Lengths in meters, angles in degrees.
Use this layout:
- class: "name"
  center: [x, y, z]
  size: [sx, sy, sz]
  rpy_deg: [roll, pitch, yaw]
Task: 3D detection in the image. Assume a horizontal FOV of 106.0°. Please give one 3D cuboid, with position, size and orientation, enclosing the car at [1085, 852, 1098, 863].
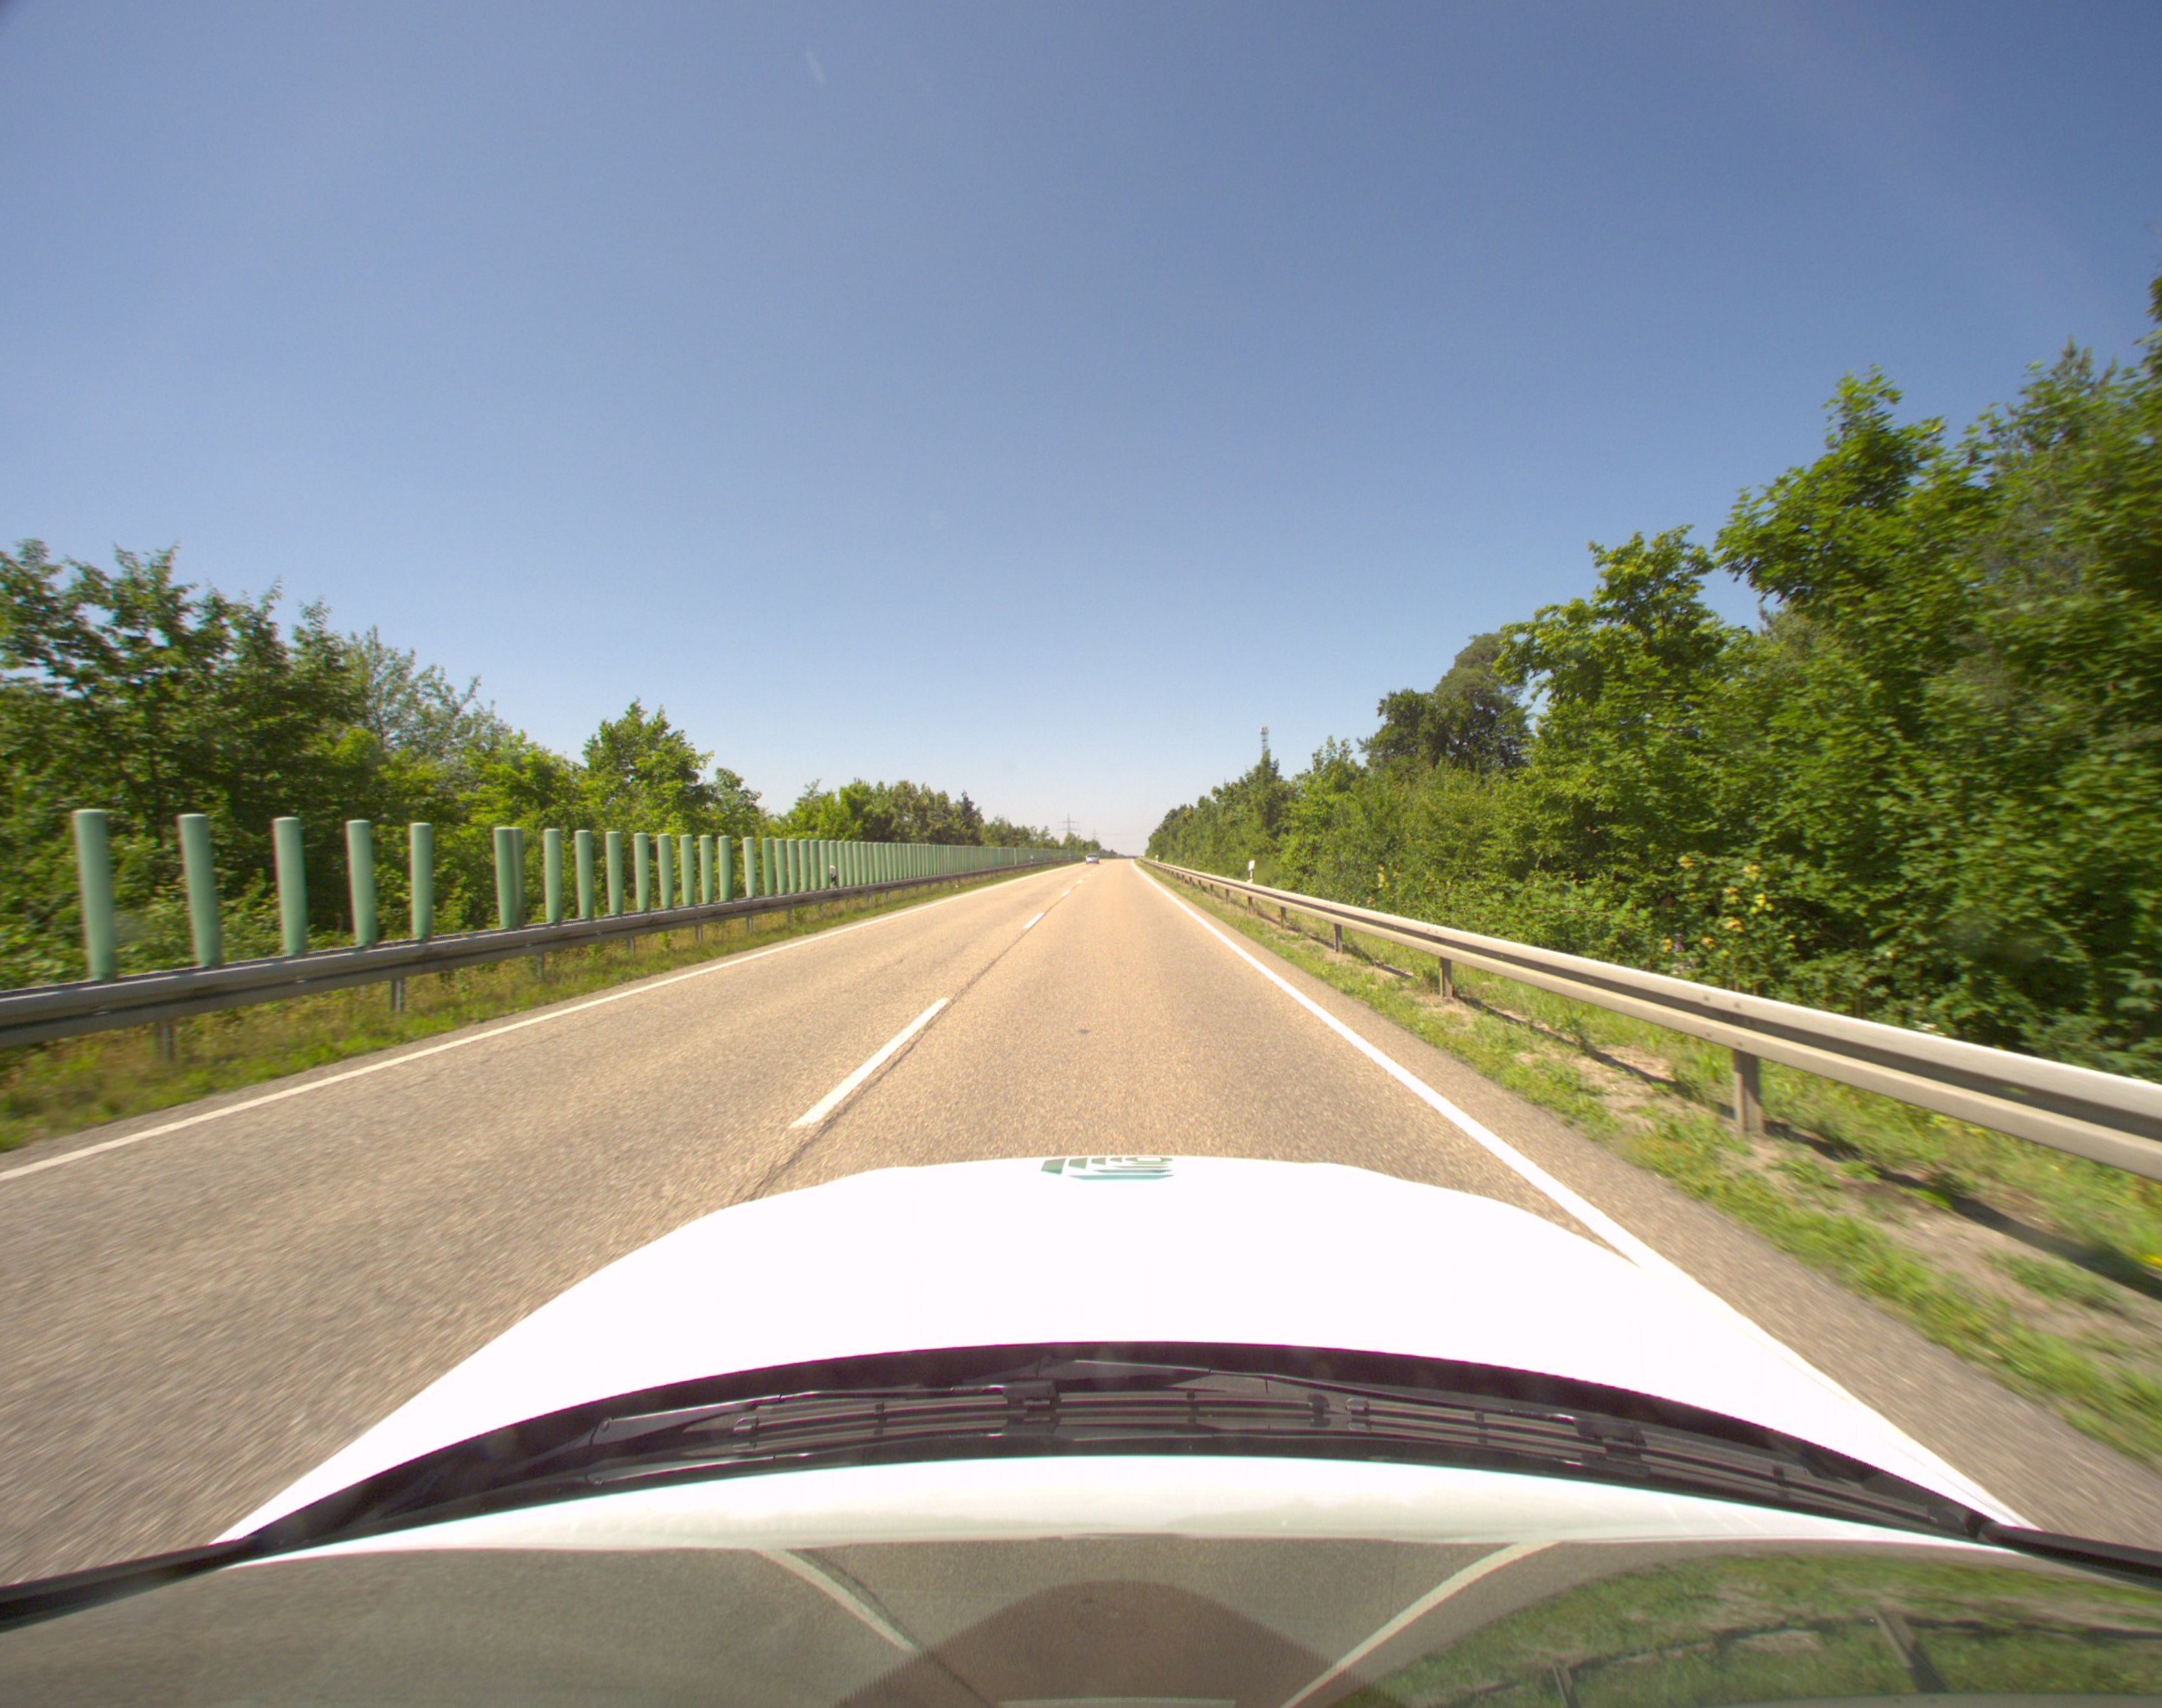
- class: "car"
  center: [1.502, 0.476, 115.015]
  size: [1.713, 1.501, 4.250]
  rpy_deg: [-1, 0, 2]
